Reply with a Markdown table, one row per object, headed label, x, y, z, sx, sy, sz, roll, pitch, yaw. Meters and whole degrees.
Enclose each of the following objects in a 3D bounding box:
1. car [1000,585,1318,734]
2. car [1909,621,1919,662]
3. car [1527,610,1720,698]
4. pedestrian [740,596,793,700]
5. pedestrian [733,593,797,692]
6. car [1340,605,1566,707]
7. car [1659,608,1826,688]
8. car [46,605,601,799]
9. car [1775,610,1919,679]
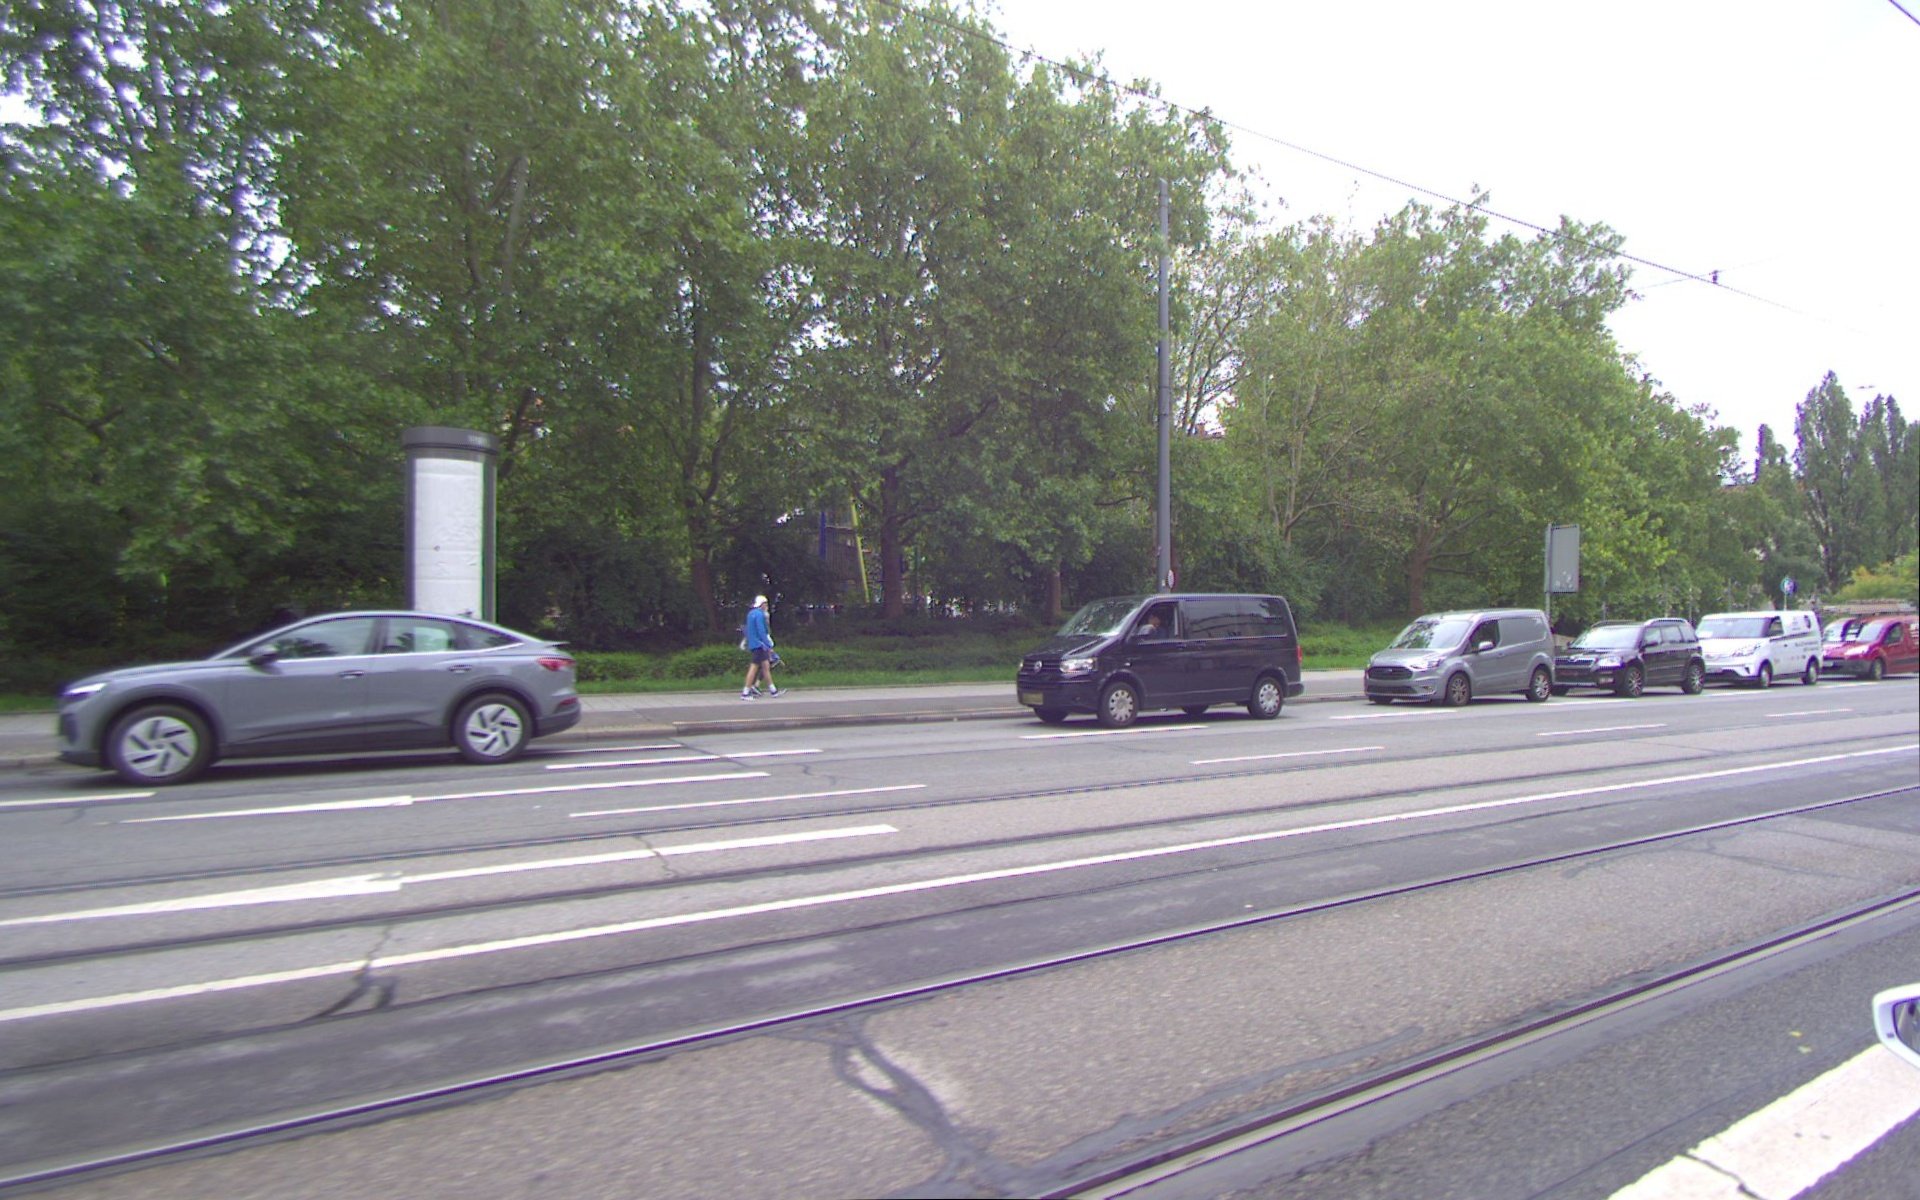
| label | x | y | z | sx | sy | sz | roll | pitch | yaw |
| --- | --- | --- | --- | --- | --- | --- | --- | --- | --- |
| car | 3.186 | 0.864 | 15.714 | 4.980 | 2.017 | 1.791 | 1 | -2 | -30 |
| car | 38.673 | 1.574 | 38.869 | 4.470 | 1.550 | 1.789 | 1 | -3 | -33 |
| car | 14.908 | 1.177 | 22.513 | 4.466 | 1.812 | 1.791 | 1 | -3 | -30 |
| pedestrian | -3.471 | 0.846 | 17.956 | 0.806 | 1.813 | 0.663 | 1 | 0 | -22 |
| pedestrian | -3.482 | 0.742 | 17.926 | 0.973 | 1.707 | 0.663 | -1 | 1 | -22 |
| car | 9.711 | 1.063 | 19.714 | 4.466 | 1.812 | 1.791 | 1 | -3 | -30 |
| car | 20.061 | 1.212 | 25.705 | 4.577 | 1.885 | 1.791 | 1 | -3 | -31 |
| car | -6.292 | 0.925 | 10.522 | 4.534 | 1.656 | 1.791 | 1 | -2 | -30 |
| car | 25.375 | 1.243 | 28.379 | 4.455 | 1.812 | 1.795 | 0 | -3 | -24 |
